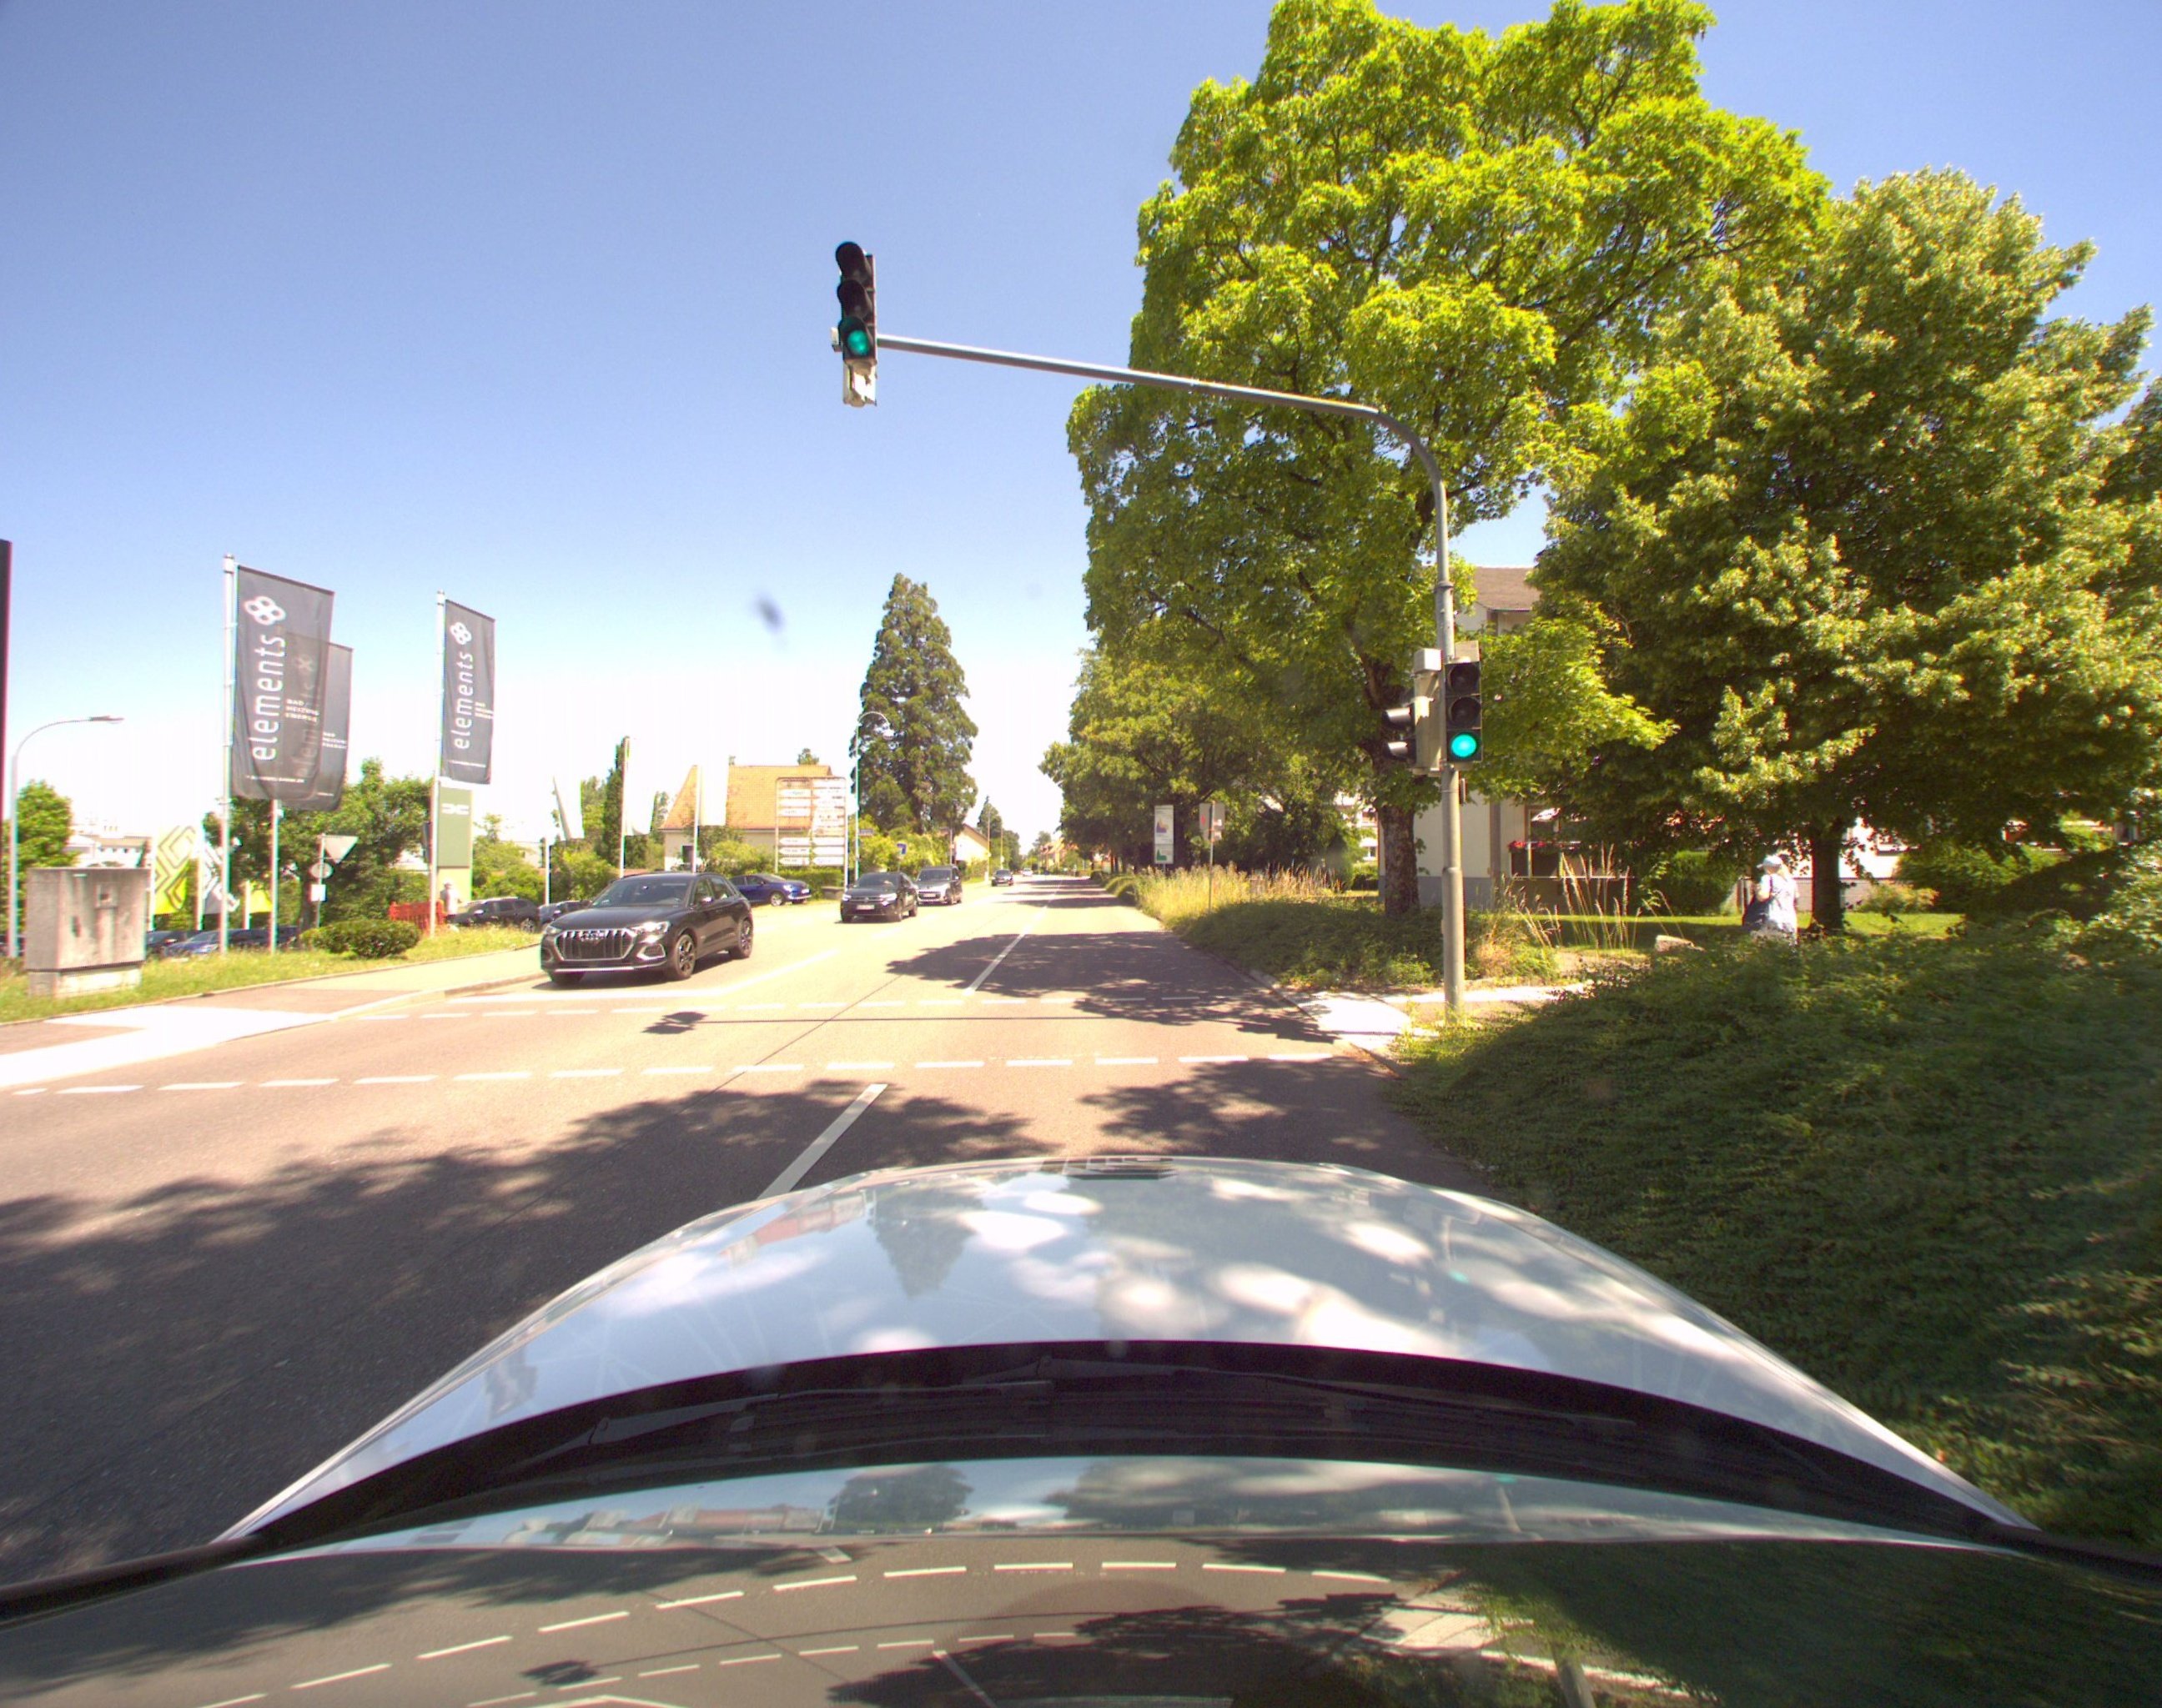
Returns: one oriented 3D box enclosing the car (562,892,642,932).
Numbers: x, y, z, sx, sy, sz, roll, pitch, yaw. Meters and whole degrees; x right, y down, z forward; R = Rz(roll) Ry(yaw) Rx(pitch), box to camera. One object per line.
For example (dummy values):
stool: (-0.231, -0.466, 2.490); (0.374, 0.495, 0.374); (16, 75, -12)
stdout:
car: (-23.329, 2.797, 39.865); (1.806, 1.722, 4.080); (0, -1, -6)

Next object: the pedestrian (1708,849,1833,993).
pedestrian: (8.244, 0.769, 9.777); (0.717, 1.633, 0.849); (-1, -1, -7)

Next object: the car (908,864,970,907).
car: (-6.274, 1.368, 36.416); (1.804, 1.762, 4.571); (-1, -1, 1)

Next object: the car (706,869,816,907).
car: (-13.867, 1.464, 35.365); (4.109, 1.504, 1.782); (-1, -1, 10)

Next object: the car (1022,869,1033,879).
car: (-10.249, 3.866, 156.877); (1.907, 1.689, 4.123); (1, 1, -1)

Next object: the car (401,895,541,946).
car: (-23.805, 2.524, 31.980); (1.795, 1.722, 4.106); (-1, -1, 16)

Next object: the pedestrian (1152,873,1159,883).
pedestrian: (8.693, 2.785, 95.026); (0.701, 1.160, 0.755); (0, -1, 3)

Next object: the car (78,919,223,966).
car: (-37.182, 3.489, 32.701); (1.754, 1.486, 3.983); (-1, -1, -12)

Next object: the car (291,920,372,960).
car: (-39.422, 4.470, 42.957); (1.816, 1.722, 4.059); (0, -1, -22)

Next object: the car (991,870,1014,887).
car: (-7.335, 2.240, 76.625); (1.788, 1.536, 4.313); (-1, -1, -1)

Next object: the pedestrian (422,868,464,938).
pedestrian: (-16.572, 1.260, 21.169); (0.538, 1.761, 0.706); (-2, -1, 28)

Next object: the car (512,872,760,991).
car: (-6.873, 1.090, 13.198); (1.923, 1.555, 4.295); (-1, -1, -5)

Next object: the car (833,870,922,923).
car: (-6.266, 1.267, 25.529); (1.864, 1.507, 4.049); (-1, -1, -2)
